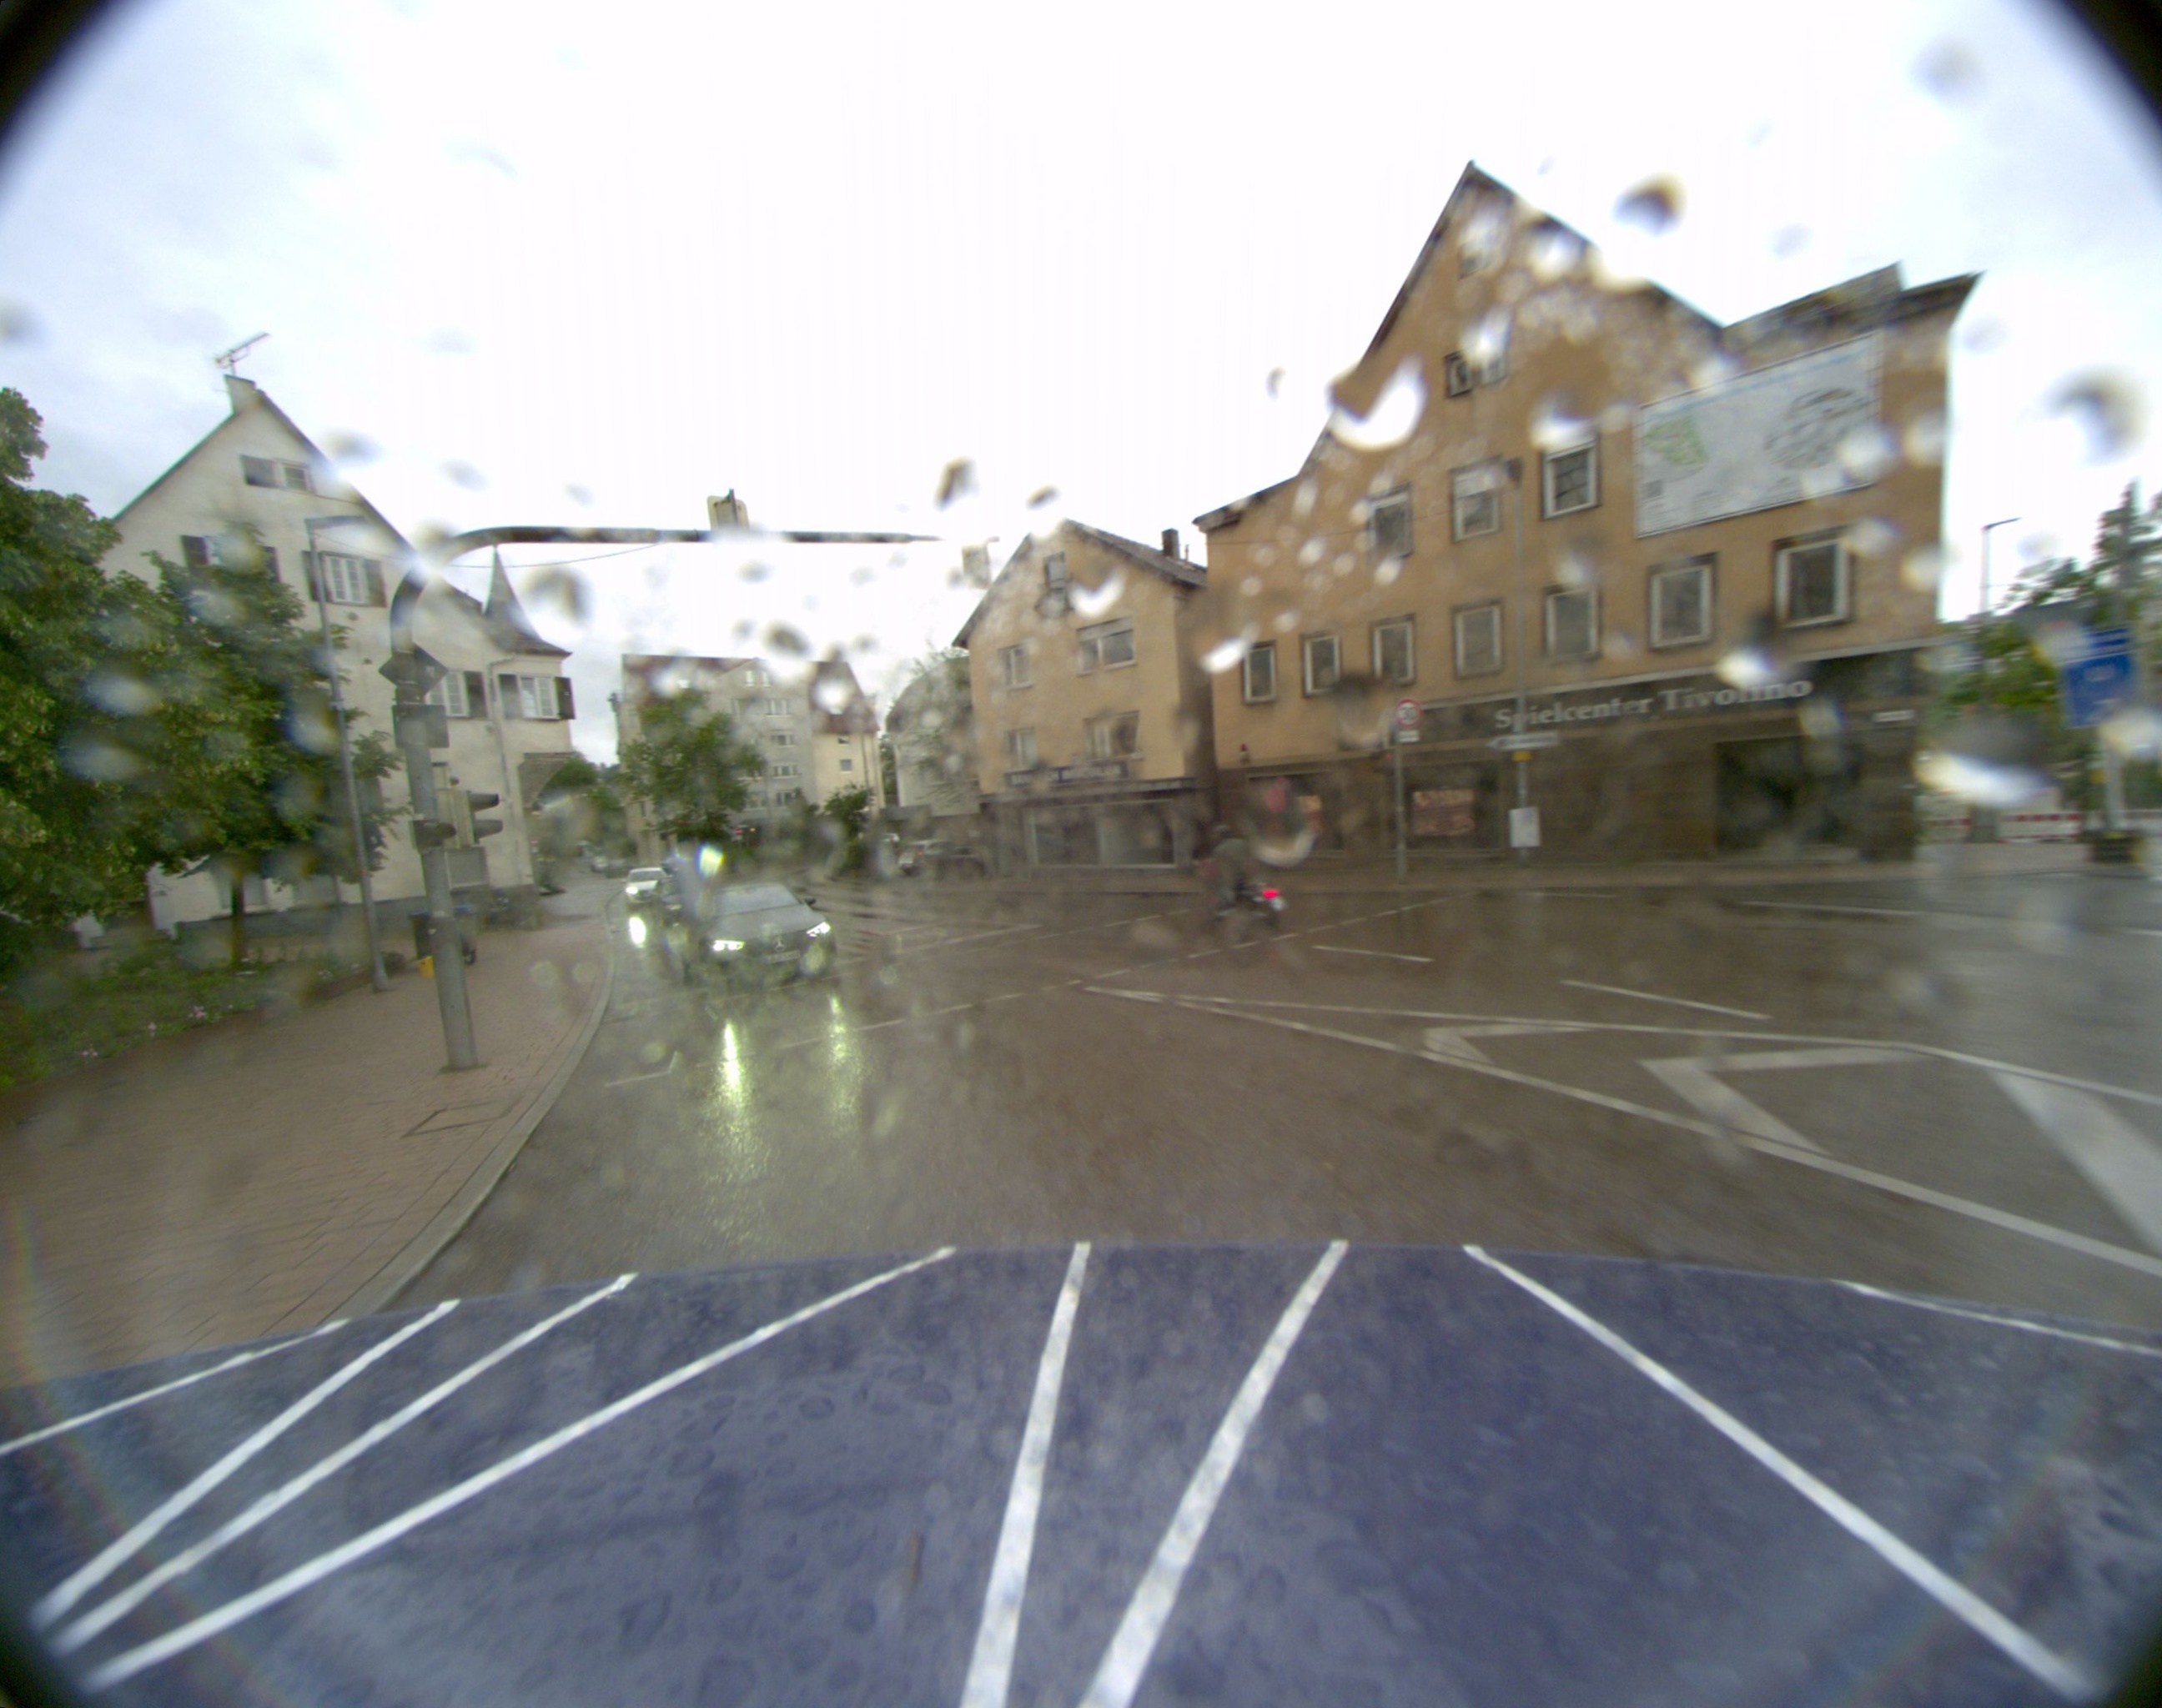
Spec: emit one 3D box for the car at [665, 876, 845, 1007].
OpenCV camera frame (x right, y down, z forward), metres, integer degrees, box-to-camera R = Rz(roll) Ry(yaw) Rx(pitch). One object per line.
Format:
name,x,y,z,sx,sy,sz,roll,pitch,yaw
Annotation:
car,-5.619,1.270,12.754,2.002,1.485,4.303,-7,4,-32

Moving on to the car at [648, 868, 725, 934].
car,-12.541,1.399,24.026,1.777,1.525,4.366,-7,5,-30

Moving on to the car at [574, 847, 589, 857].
car,-93.724,-0.371,142.542,2.002,1.565,3.991,-6,3,-30

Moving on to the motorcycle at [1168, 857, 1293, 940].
motorcycle,2.289,0.648,11.869,0.772,1.125,1.912,-7,3,-29

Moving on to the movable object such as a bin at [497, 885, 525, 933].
movable object such as a bin,-17.510,1.676,23.334,0.642,1.434,0.414,-2,2,33

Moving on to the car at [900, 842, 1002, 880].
car,-5.684,0.295,33.546,1.895,1.445,4.008,-5,-2,42

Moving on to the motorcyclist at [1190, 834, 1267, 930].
motorcyclist,2.285,0.413,11.789,0.812,1.347,0.666,-9,5,-30

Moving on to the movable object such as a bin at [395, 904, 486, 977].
movable object such as a bin,-14.081,1.867,16.764,1.159,1.306,1.183,-7,5,-27

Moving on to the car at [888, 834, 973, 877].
car,-7.214,0.038,36.671,1.995,1.620,3.649,-2,5,30

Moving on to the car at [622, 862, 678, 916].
car,-18.040,1.395,31.928,1.816,1.558,3.987,-6,8,-28
